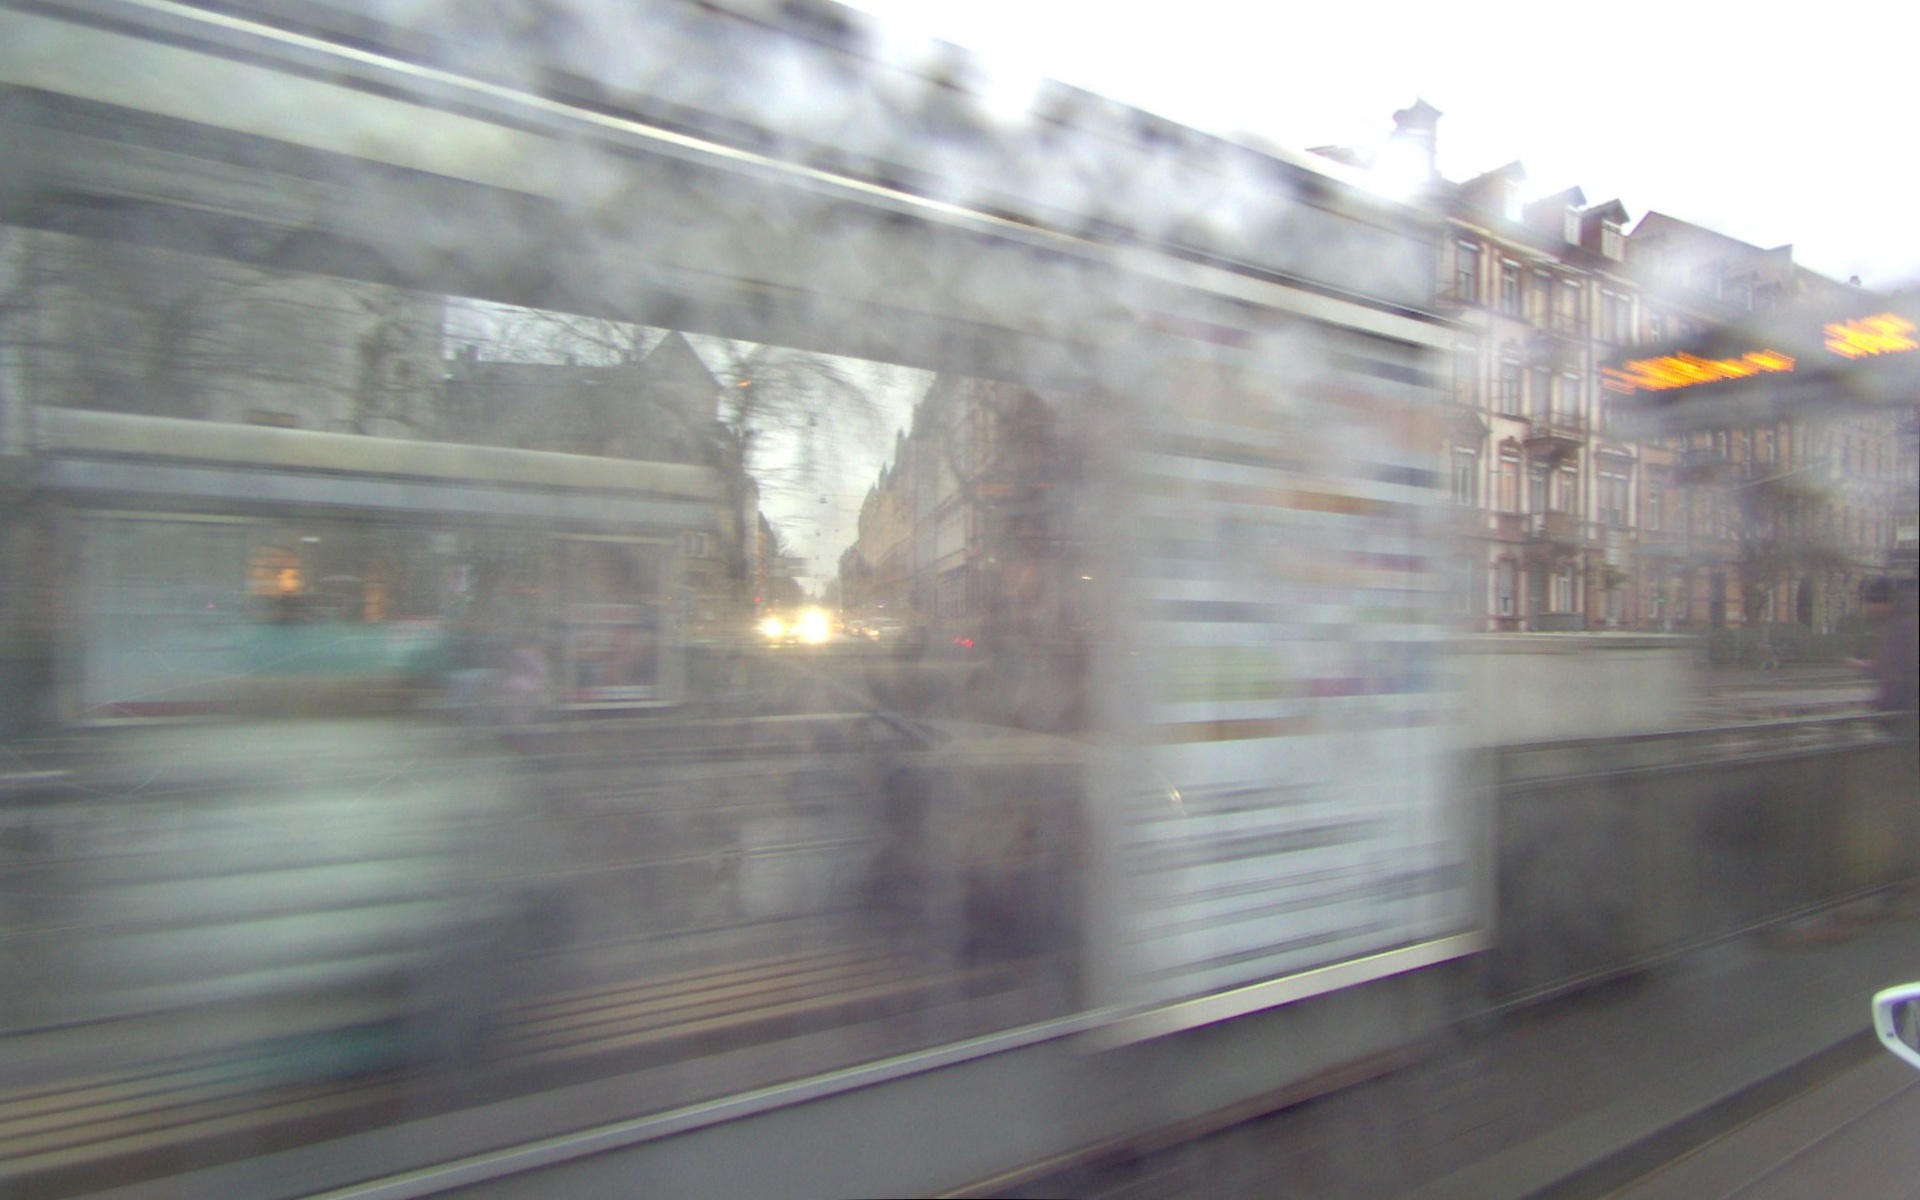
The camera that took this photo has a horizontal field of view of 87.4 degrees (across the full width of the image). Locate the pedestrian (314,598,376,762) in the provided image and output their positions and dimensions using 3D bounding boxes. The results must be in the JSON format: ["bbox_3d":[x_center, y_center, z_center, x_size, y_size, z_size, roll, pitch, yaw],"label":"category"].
[{"bbox_3d":[-5.590,0.708,9.146,0.448,1.422,0.470,1,2,-30],"label":"pedestrian"}]

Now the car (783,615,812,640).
[{"bbox_3d":[-11.762,1.978,72.421,1.965,1.728,3.992,1,-1,-11],"label":"car"}]

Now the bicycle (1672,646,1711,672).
[{"bbox_3d":[25.848,2.070,35.474,1.827,0.874,0.398,2,-1,-30],"label":"bicycle"}]

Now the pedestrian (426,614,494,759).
[{"bbox_3d":[-4.898,0.809,9.814,0.500,1.271,1.050,1,2,-30],"label":"pedestrian"}]

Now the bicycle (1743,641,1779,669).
[{"bbox_3d":[30.069,2.076,37.706,1.827,1.020,0.414,2,-1,-30],"label":"bicycle"}]

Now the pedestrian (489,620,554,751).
[{"bbox_3d":[-4.435,0.845,10.150,0.511,1.235,0.649,1,2,-30],"label":"pedestrian"}]

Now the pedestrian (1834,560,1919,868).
[{"bbox_3d":[5.941,0.683,6.221,0.564,1.832,0.554,1,2,-29],"label":"pedestrian"}]

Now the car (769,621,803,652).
[{"bbox_3d":[-10.493,2.189,60.763,1.845,1.795,3.858,0,-1,-7],"label":"car"}]

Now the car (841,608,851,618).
[{"bbox_3d":[-20.771,2.336,183.500,1.648,1.728,3.998,1,-1,-4],"label":"car"}]

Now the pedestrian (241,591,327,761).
[{"bbox_3d":[-6.009,0.646,8.957,0.571,1.422,0.680,1,2,-30],"label":"pedestrian"}]

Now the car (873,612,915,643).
[{"bbox_3d":[-3.841,1.567,58.012,1.964,1.728,3.993,1,-1,-10],"label":"car"}]

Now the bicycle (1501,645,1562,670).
[{"bbox_3d":[19.615,1.970,34.485,1.774,0.769,0.401,1,0,6],"label":"bicycle"}]
